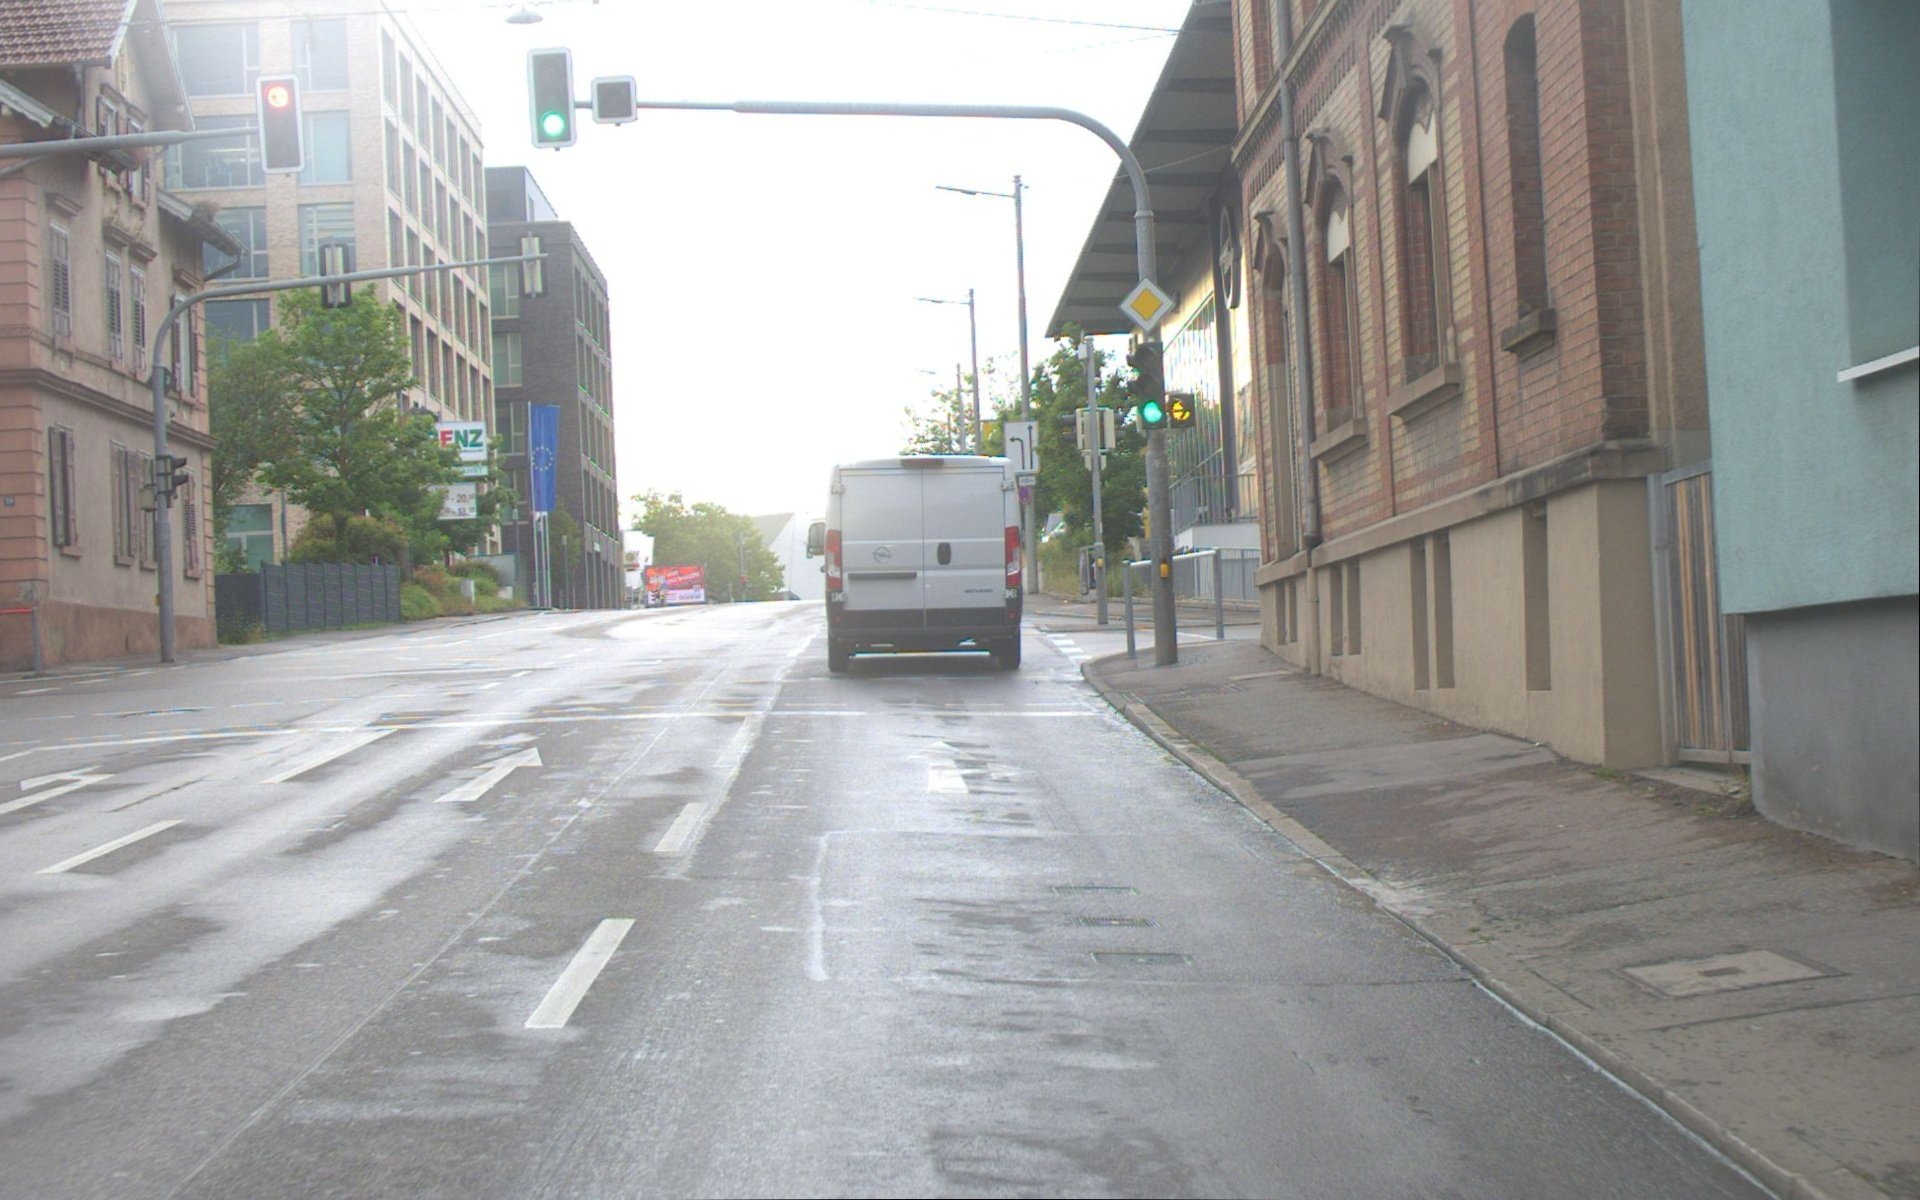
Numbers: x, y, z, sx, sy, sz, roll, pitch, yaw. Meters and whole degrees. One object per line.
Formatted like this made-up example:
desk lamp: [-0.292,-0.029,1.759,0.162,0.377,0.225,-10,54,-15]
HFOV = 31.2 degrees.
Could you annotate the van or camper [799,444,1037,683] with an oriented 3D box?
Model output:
van or camper: [-0.456,-0.380,37.392,2.340,2.349,5.199,-2,0,-1]
